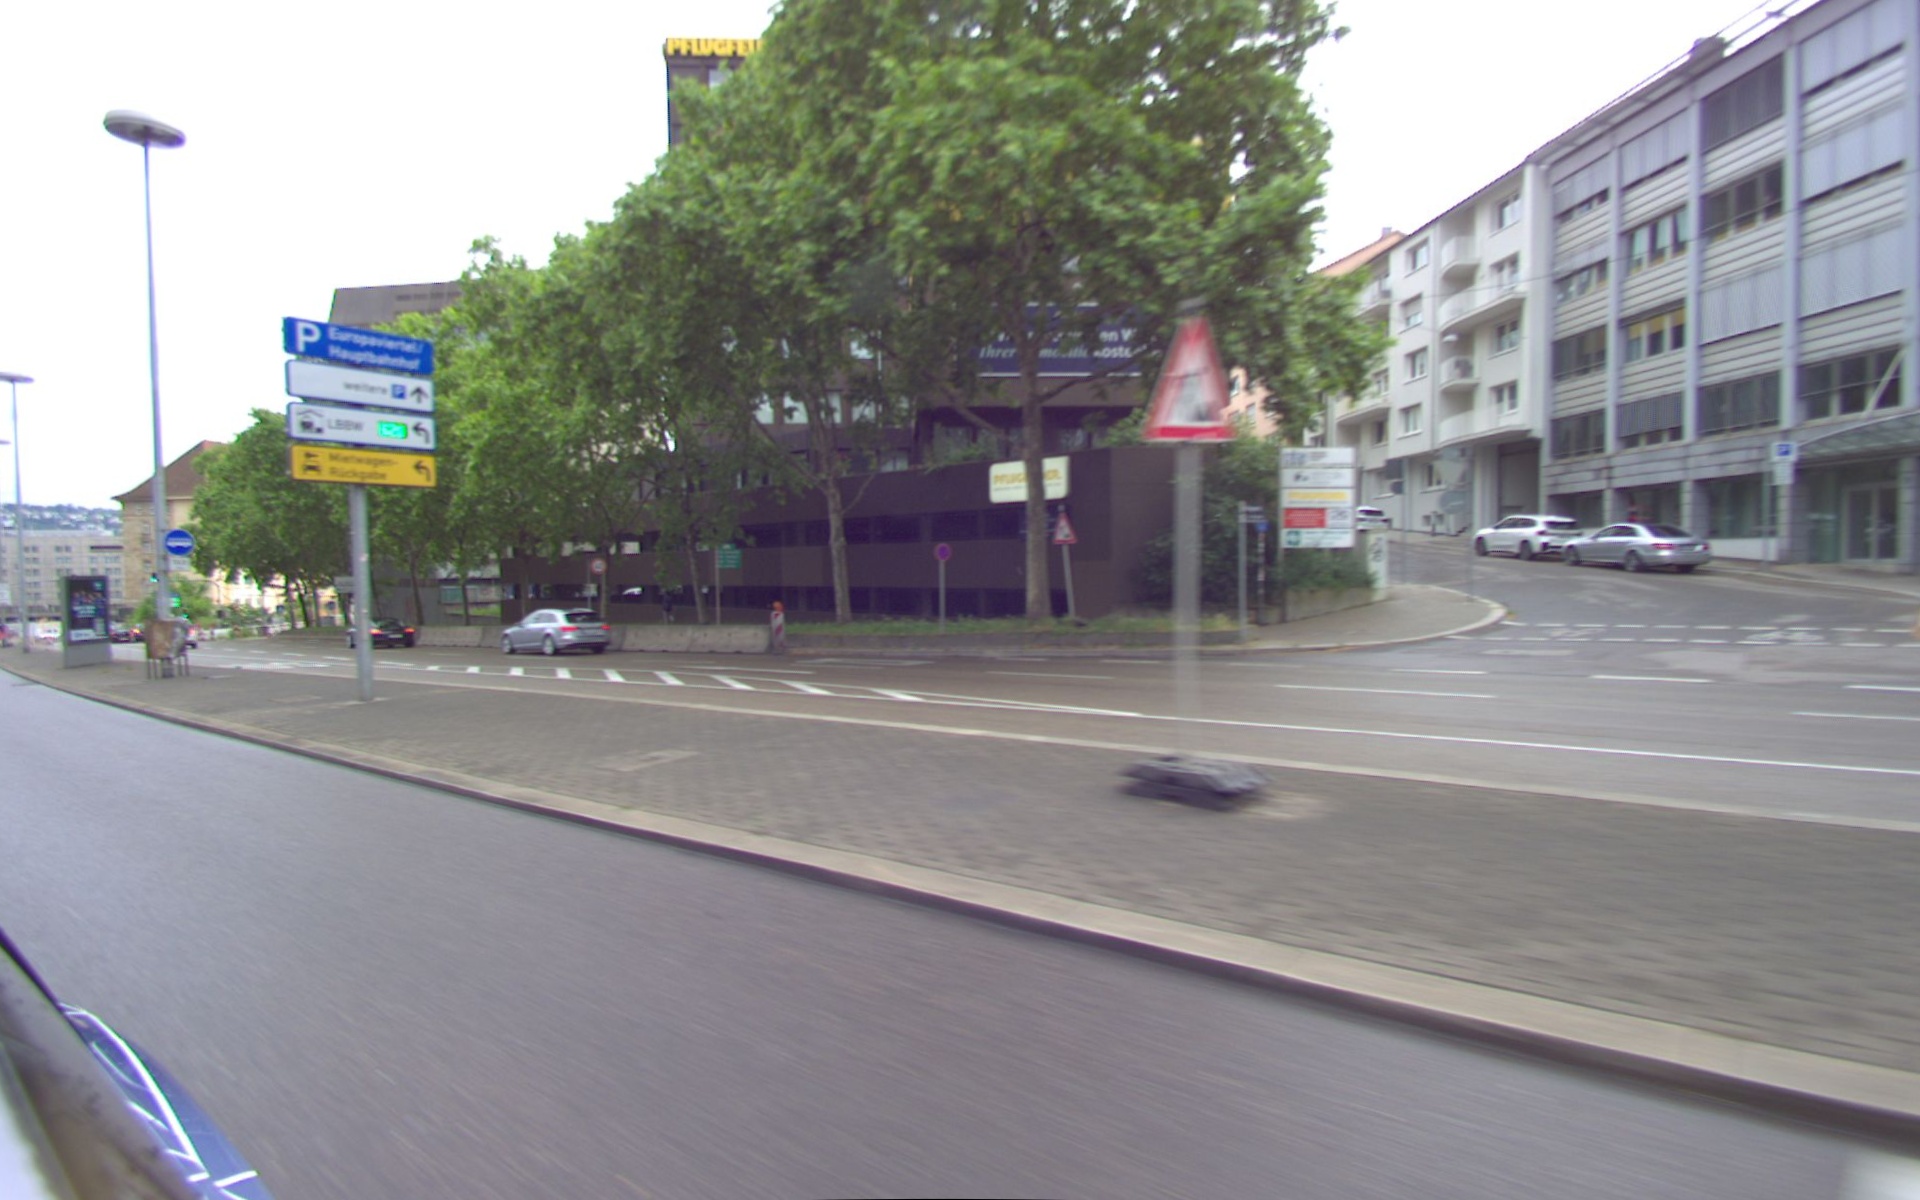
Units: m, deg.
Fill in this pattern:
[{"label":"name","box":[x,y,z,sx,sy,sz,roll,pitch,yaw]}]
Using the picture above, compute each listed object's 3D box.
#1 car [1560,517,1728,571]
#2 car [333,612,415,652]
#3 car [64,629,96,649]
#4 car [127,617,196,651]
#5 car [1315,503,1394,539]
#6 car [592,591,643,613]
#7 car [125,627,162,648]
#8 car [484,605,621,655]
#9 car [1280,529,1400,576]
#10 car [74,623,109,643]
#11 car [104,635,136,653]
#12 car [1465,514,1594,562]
[{"label":"car","box":[21.371,-1.750,31.885,1.970,1.476,4.493,-3,3,-5]},{"label":"car","box":[-24.444,1.327,42.154,4.169,1.530,1.735,-2,-1,42]},{"label":"car","box":[-74.559,3.283,85.696,3.866,1.497,1.774,-1,0,45]},{"label":"car","box":[-38.161,1.625,48.369,3.735,1.530,1.737,-1,-1,38]},{"label":"car","box":[20.028,-3.993,51.585,1.970,1.586,4.493,-3,3,-5]},{"label":"car","box":[-28.291,0.175,83.568,3.931,1.730,2.006,-2,0,-21]},{"label":"car","box":[-62.468,2.892,77.374,1.911,1.511,4.177,-1,-2,-43]},{"label":"car","box":[-13.050,0.949,32.287,4.876,1.458,1.974,-1,-1,39]},{"label":"car","box":[14.769,-1.824,39.444,3.941,1.696,1.822,-1,1,-2]},{"label":"car","box":[-69.698,2.602,81.179,3.865,1.497,1.774,-2,0,45]},{"label":"car","box":[-73.947,3.846,89.092,1.911,1.447,4.079,-1,-1,-43]},{"label":"car","box":[20.992,-2.260,37.562,1.970,1.586,4.493,-3,3,-5]}]
